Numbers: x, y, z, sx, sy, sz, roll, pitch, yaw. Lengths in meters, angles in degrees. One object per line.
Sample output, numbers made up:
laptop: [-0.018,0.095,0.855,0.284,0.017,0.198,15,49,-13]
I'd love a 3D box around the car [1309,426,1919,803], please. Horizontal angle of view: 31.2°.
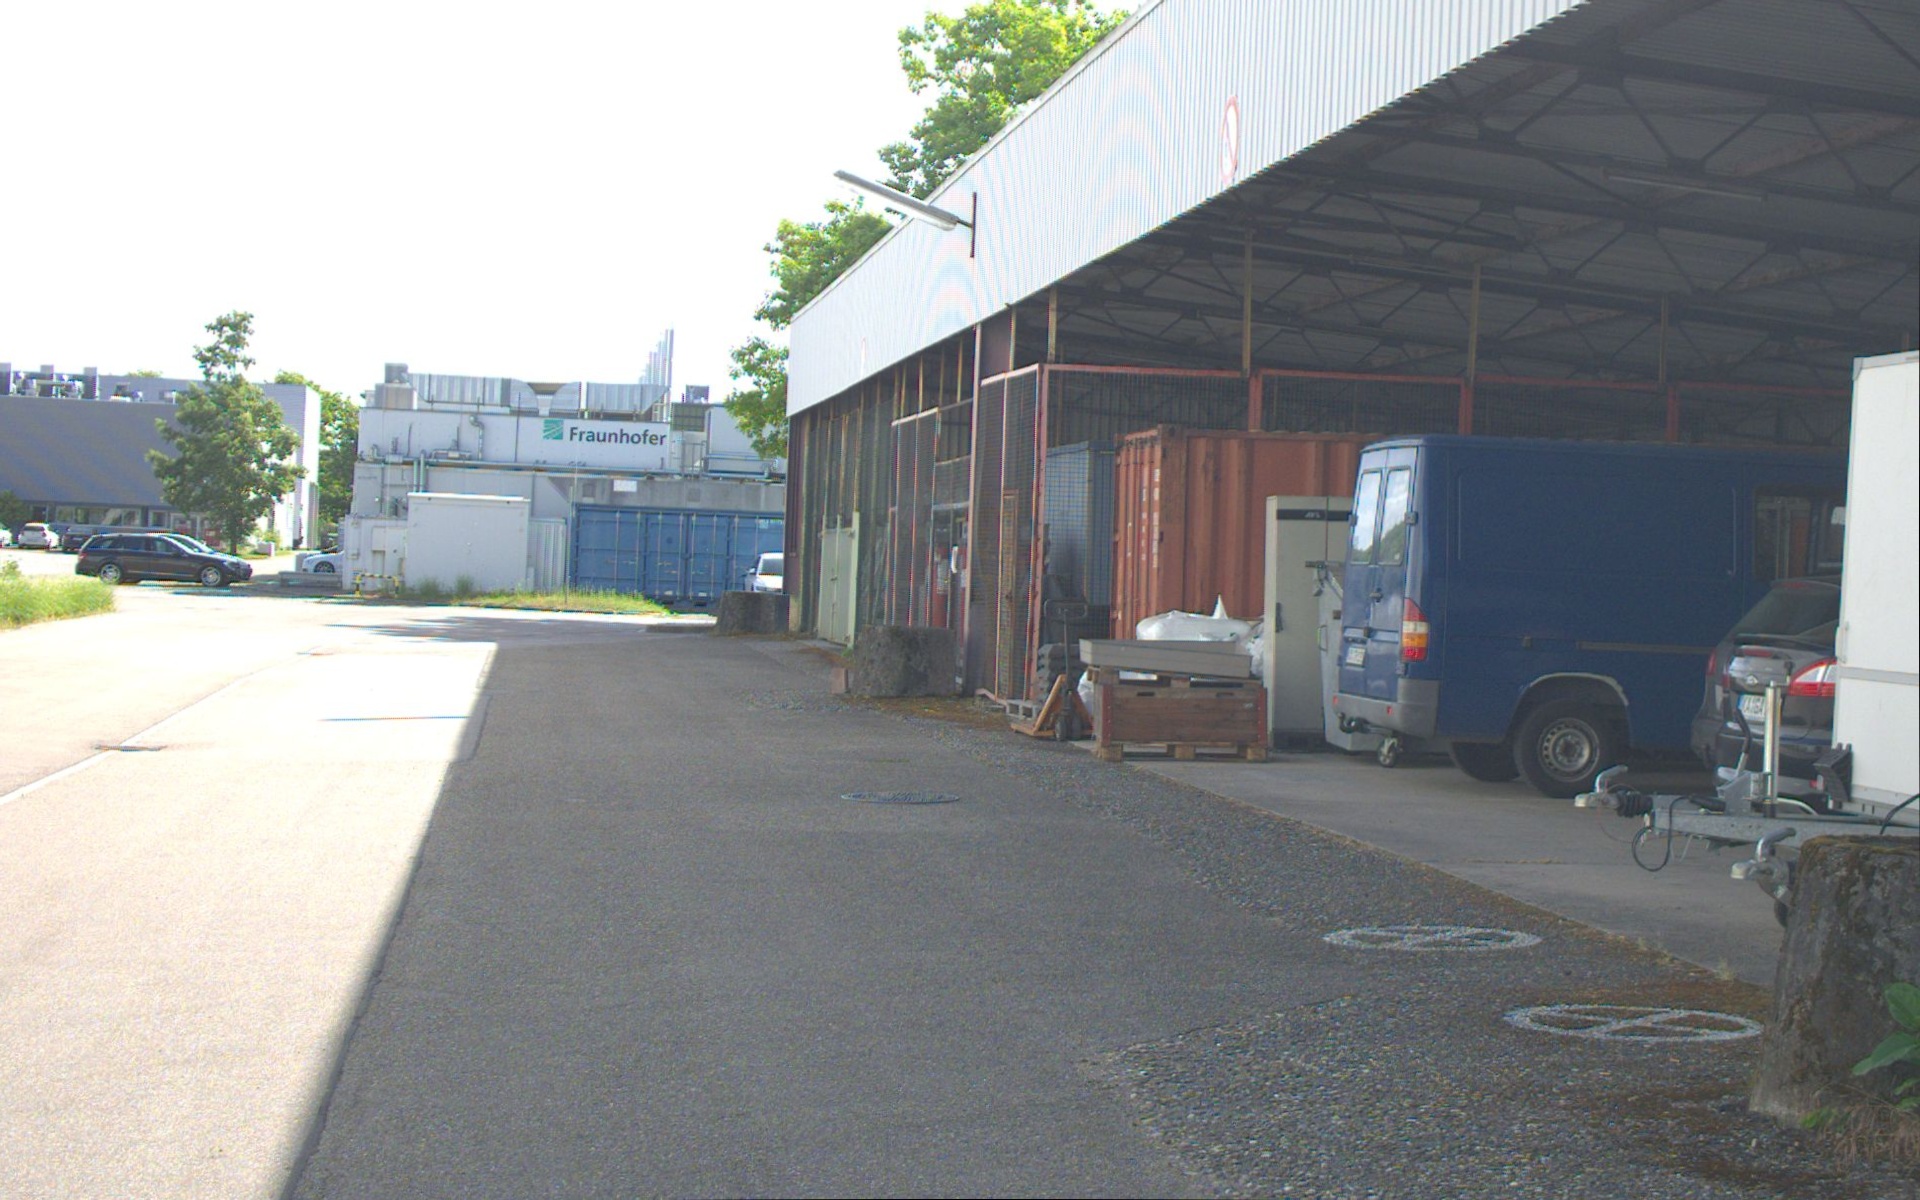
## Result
car: [5.161,0.121,22.944,5.215,2.289,2.084,2,0,-8]

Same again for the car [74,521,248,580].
car: [-22.544,-1.390,97.137,4.528,1.438,1.988,2,-1,-7]

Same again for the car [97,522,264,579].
car: [-22.723,-1.437,100.398,4.528,1.438,1.904,2,-1,-7]

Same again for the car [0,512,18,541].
car: [-53.470,-4.075,190.861,1.877,1.532,4.037,1,1,-10]

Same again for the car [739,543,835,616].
car: [-4.392,-0.536,86.686,1.980,1.588,4.342,3,2,-8]

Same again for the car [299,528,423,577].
car: [-21.798,-1.727,125.190,4.278,1.564,1.988,2,-1,-7]

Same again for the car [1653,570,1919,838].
car: [6.303,0.582,19.866,4.106,1.449,1.851,1,1,-7]

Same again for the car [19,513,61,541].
car: [-51.187,-4.048,191.366,1.877,1.532,4.037,1,1,-10]

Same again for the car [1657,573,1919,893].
car: [5.811,0.618,16.724,4.342,1.428,1.865,1,1,-10]

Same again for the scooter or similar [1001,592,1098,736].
scooter or similar: [0.725,0.510,28.232,0.520,1.131,1.593,2,0,-8]

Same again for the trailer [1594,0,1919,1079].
trailer: [7.602,-0.220,11.770,10.291,3.284,2.676,1,1,-6]

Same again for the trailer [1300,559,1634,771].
trailer: [3.711,0.467,25.395,2.094,1.457,1.642,2,0,-4]

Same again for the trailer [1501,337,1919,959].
trailer: [4.658,0.193,13.960,4.541,2.327,1.689,1,1,-6]
